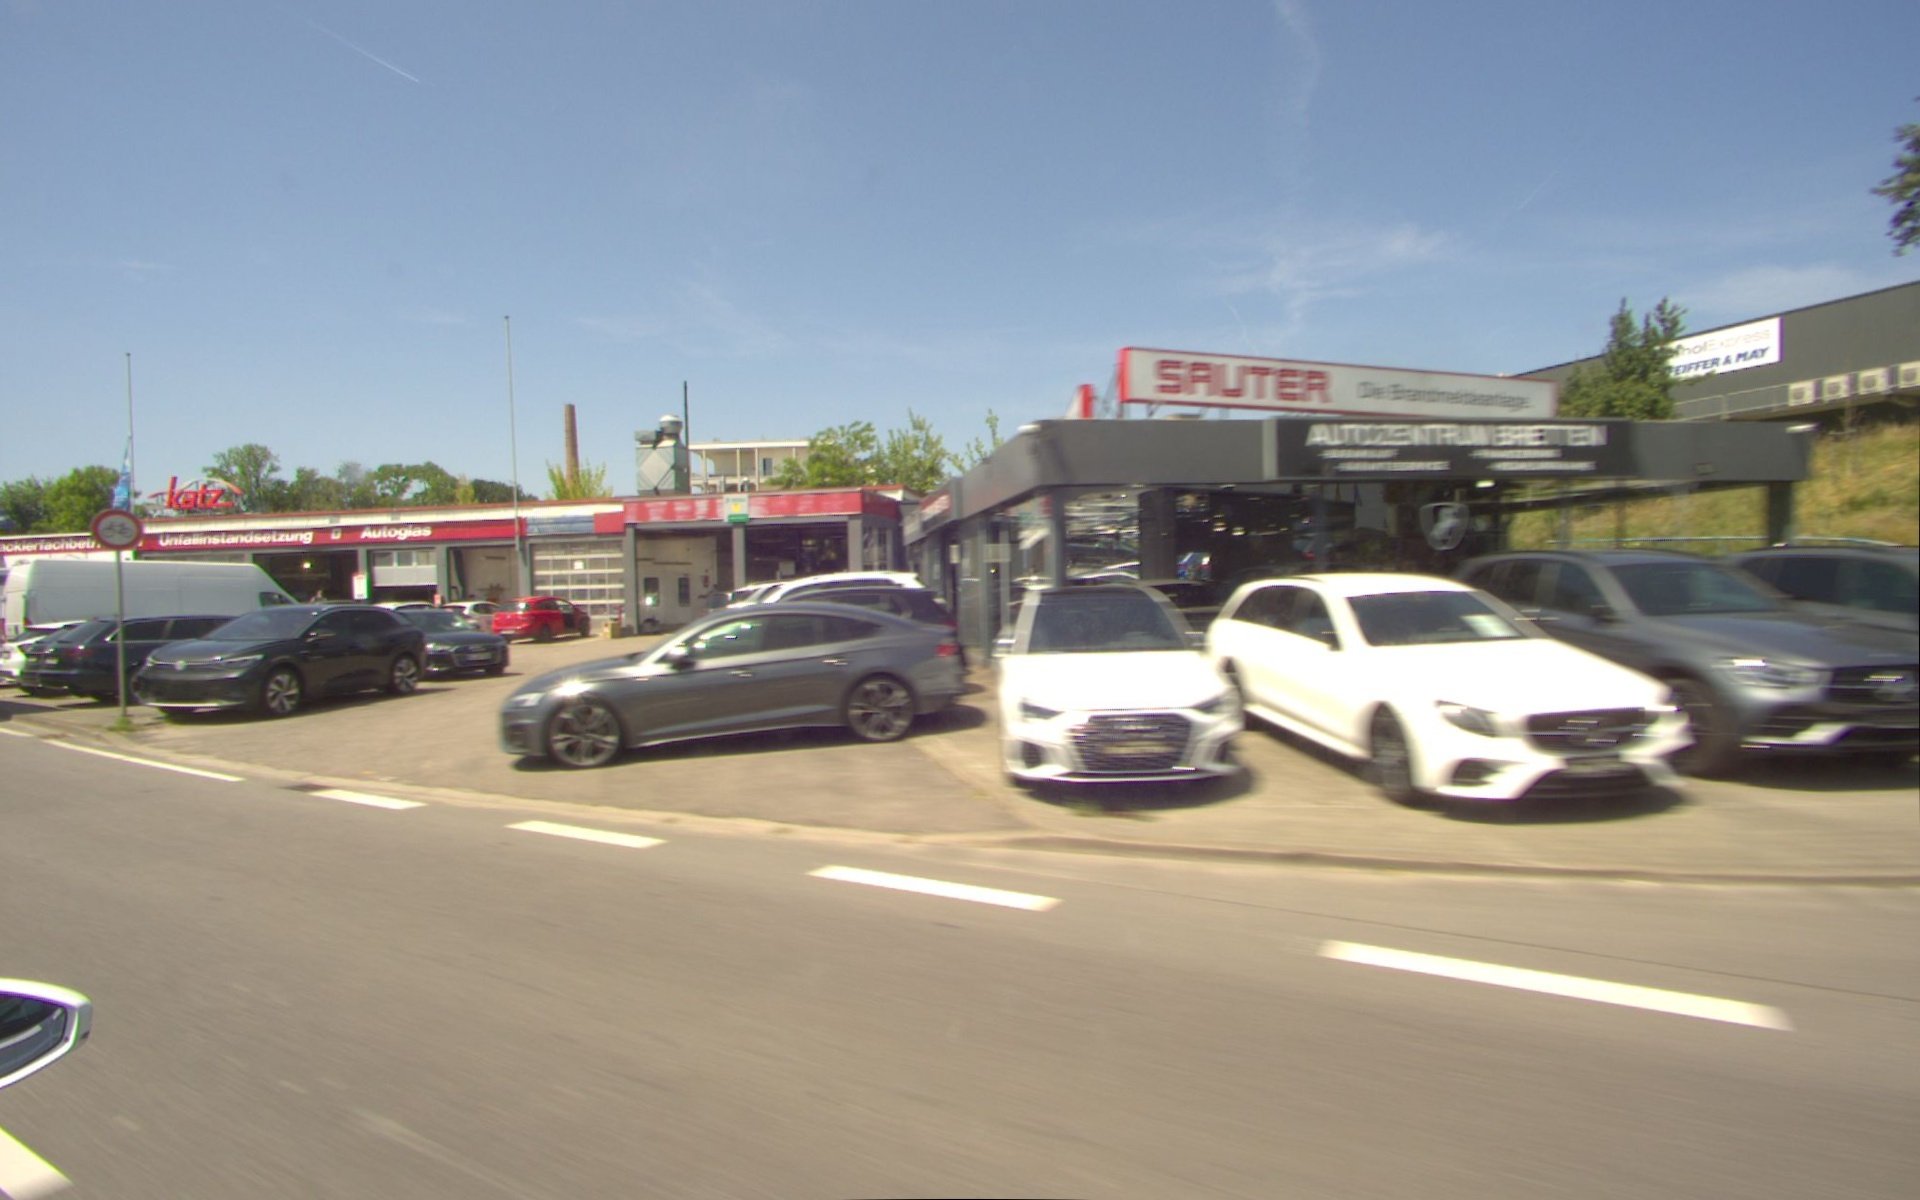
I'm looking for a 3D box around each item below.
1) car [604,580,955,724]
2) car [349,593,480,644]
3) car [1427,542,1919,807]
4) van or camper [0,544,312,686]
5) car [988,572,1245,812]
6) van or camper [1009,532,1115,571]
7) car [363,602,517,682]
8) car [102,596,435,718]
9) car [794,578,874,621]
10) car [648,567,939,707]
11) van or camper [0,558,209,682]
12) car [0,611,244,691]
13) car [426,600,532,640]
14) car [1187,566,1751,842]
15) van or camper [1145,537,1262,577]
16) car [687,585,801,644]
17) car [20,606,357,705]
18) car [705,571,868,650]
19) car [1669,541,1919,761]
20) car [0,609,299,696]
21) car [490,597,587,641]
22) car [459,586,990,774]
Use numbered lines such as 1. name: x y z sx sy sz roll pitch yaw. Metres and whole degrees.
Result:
1. car: -2.278 0.589 13.004 4.088 1.439 1.852 -4 2 -11
2. car: -20.098 0.655 37.081 1.822 1.596 3.989 -1 3 19
3. car: 6.066 0.397 8.700 1.848 1.715 4.171 -1 3 -4
4. van or camper: -18.805 0.317 23.715 2.202 2.944 5.352 0 0 35
5. car: 1.145 0.582 9.118 1.712 1.429 4.470 -1 4 1
6. van or camper: 4.003 -1.917 39.802 3.922 1.375 1.857 0 -1 -3
7. car: -11.577 0.853 22.159 1.797 1.548 4.338 -2 1 -45
8. car: -10.789 0.798 16.129 2.022 1.646 4.338 -1 1 6
9. car: -5.058 -0.011 40.701 1.879 1.639 3.996 -1 0 14
10. car: -2.534 0.498 15.458 4.070 1.737 1.852 -4 2 -11
11. van or camper: -21.580 0.458 23.880 2.202 2.766 5.458 0 0 35
12. car: -17.726 1.002 21.197 1.827 1.519 3.802 -1 -1 31
13. car: -17.462 0.739 36.533 1.646 1.392 3.599 0 -1 11
14. car: 3.669 0.546 8.470 1.961 1.575 4.734 -2 3 -6
15. van or camper: 9.189 -1.624 37.940 3.922 1.375 1.857 0 -1 -3
16. car: -7.405 0.439 34.571 1.657 1.604 3.568 6 8 40
17. car: -13.533 0.888 17.854 2.051 1.519 4.319 -1 -1 31
18. car: -4.579 0.245 26.995 4.068 1.813 1.967 -4 2 -5
19. car: 8.418 0.368 8.340 1.848 1.715 4.180 -1 3 -4
20. car: -16.071 0.955 20.022 2.051 1.519 4.319 -1 -1 31
21. car: -14.989 0.656 35.810 1.645 1.469 3.599 0 0 6
22. car: -2.285 0.711 10.471 4.842 1.406 1.925 -4 2 -11
